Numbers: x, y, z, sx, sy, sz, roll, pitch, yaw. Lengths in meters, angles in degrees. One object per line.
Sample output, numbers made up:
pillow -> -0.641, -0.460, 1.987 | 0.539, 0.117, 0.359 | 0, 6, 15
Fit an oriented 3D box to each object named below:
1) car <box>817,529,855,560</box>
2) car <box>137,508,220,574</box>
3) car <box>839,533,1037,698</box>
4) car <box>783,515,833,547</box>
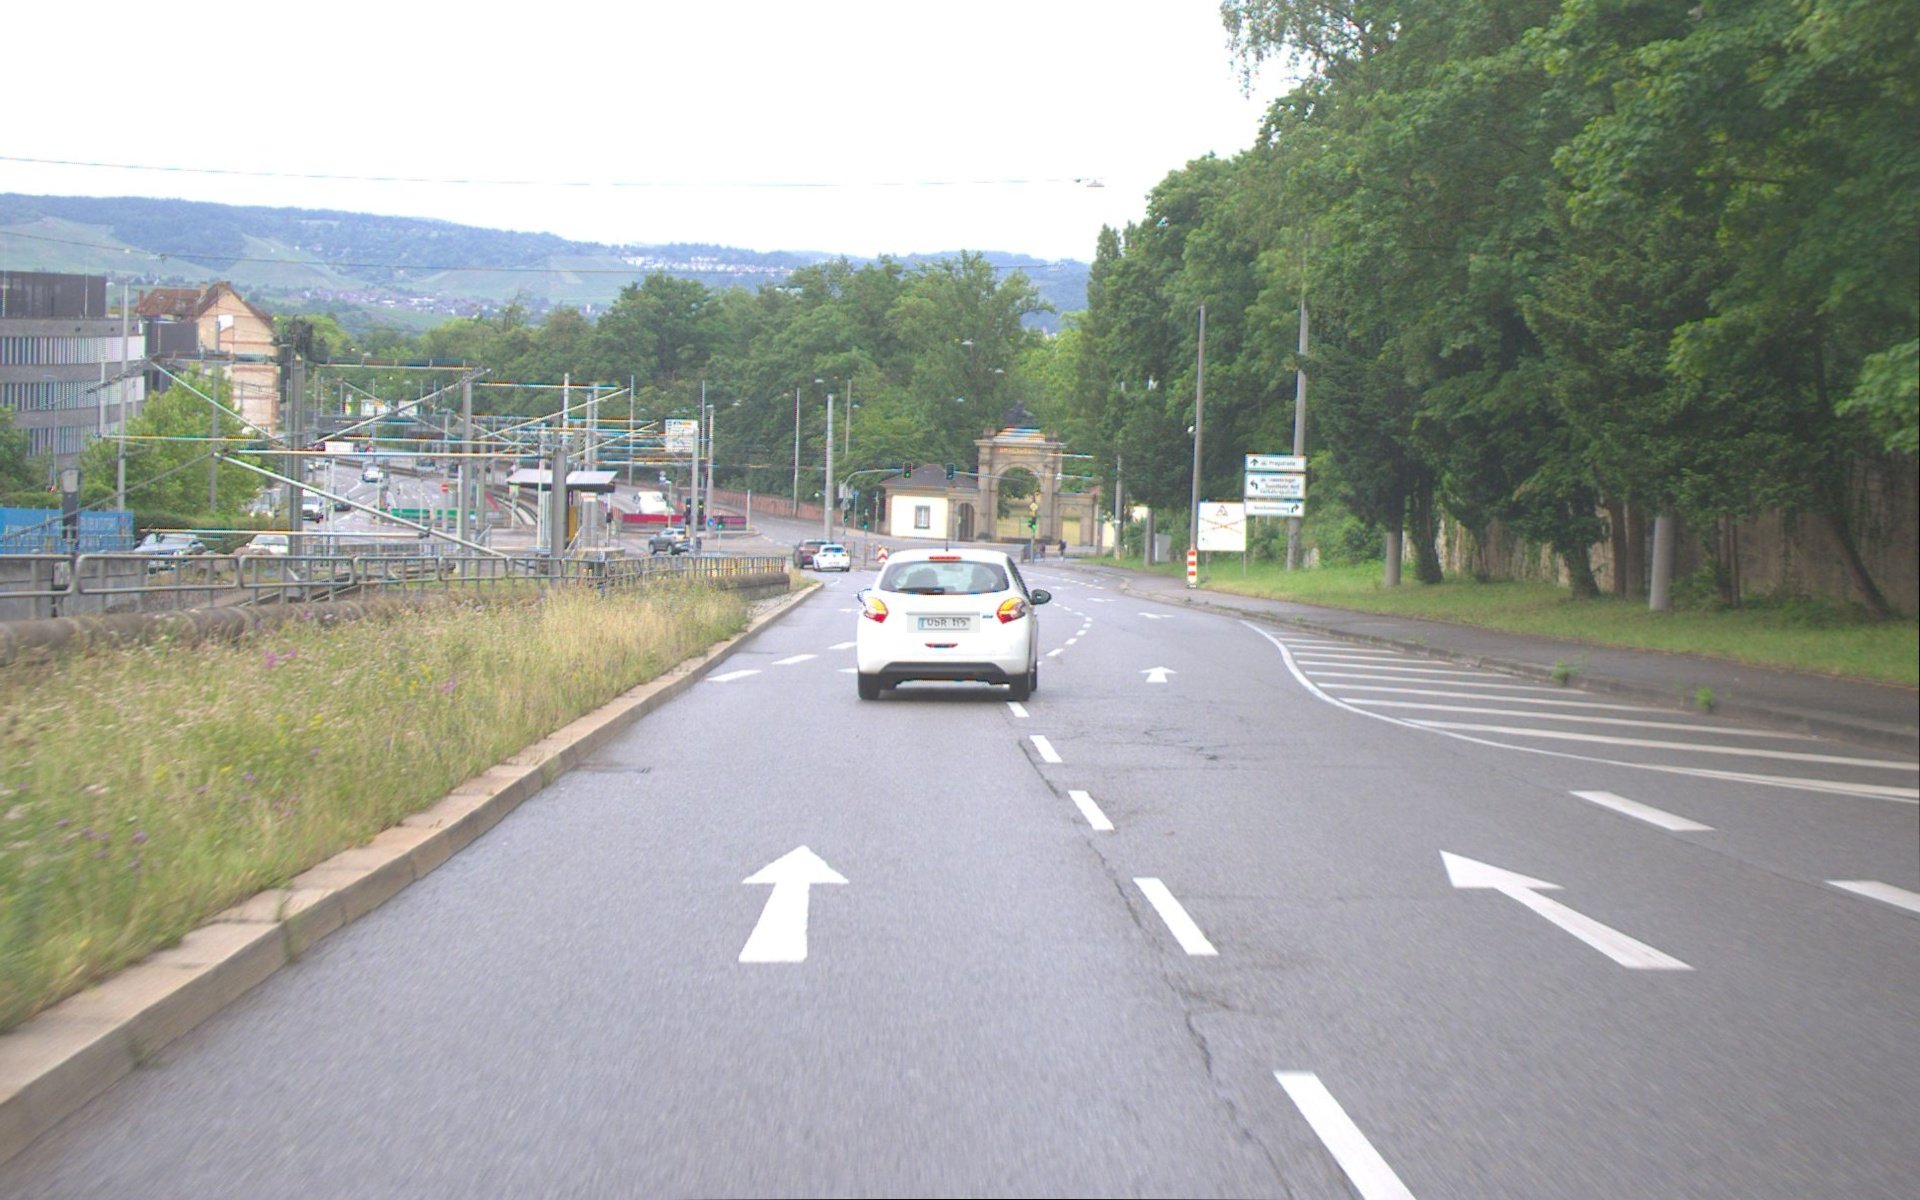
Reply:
car -> -6.626, -2.977, 183.980 | 1.822, 1.600, 4.000 | -1, 1, 0
car -> -25.449, -1.931, 112.068 | 1.890, 1.964, 4.036 | 4, 1, -4
car -> -0.219, 0.110, 34.468 | 1.868, 1.505, 3.900 | 0, 2, 0
car -> -8.517, -3.889, 192.178 | 1.993, 1.700, 4.002 | 1, 2, -14
